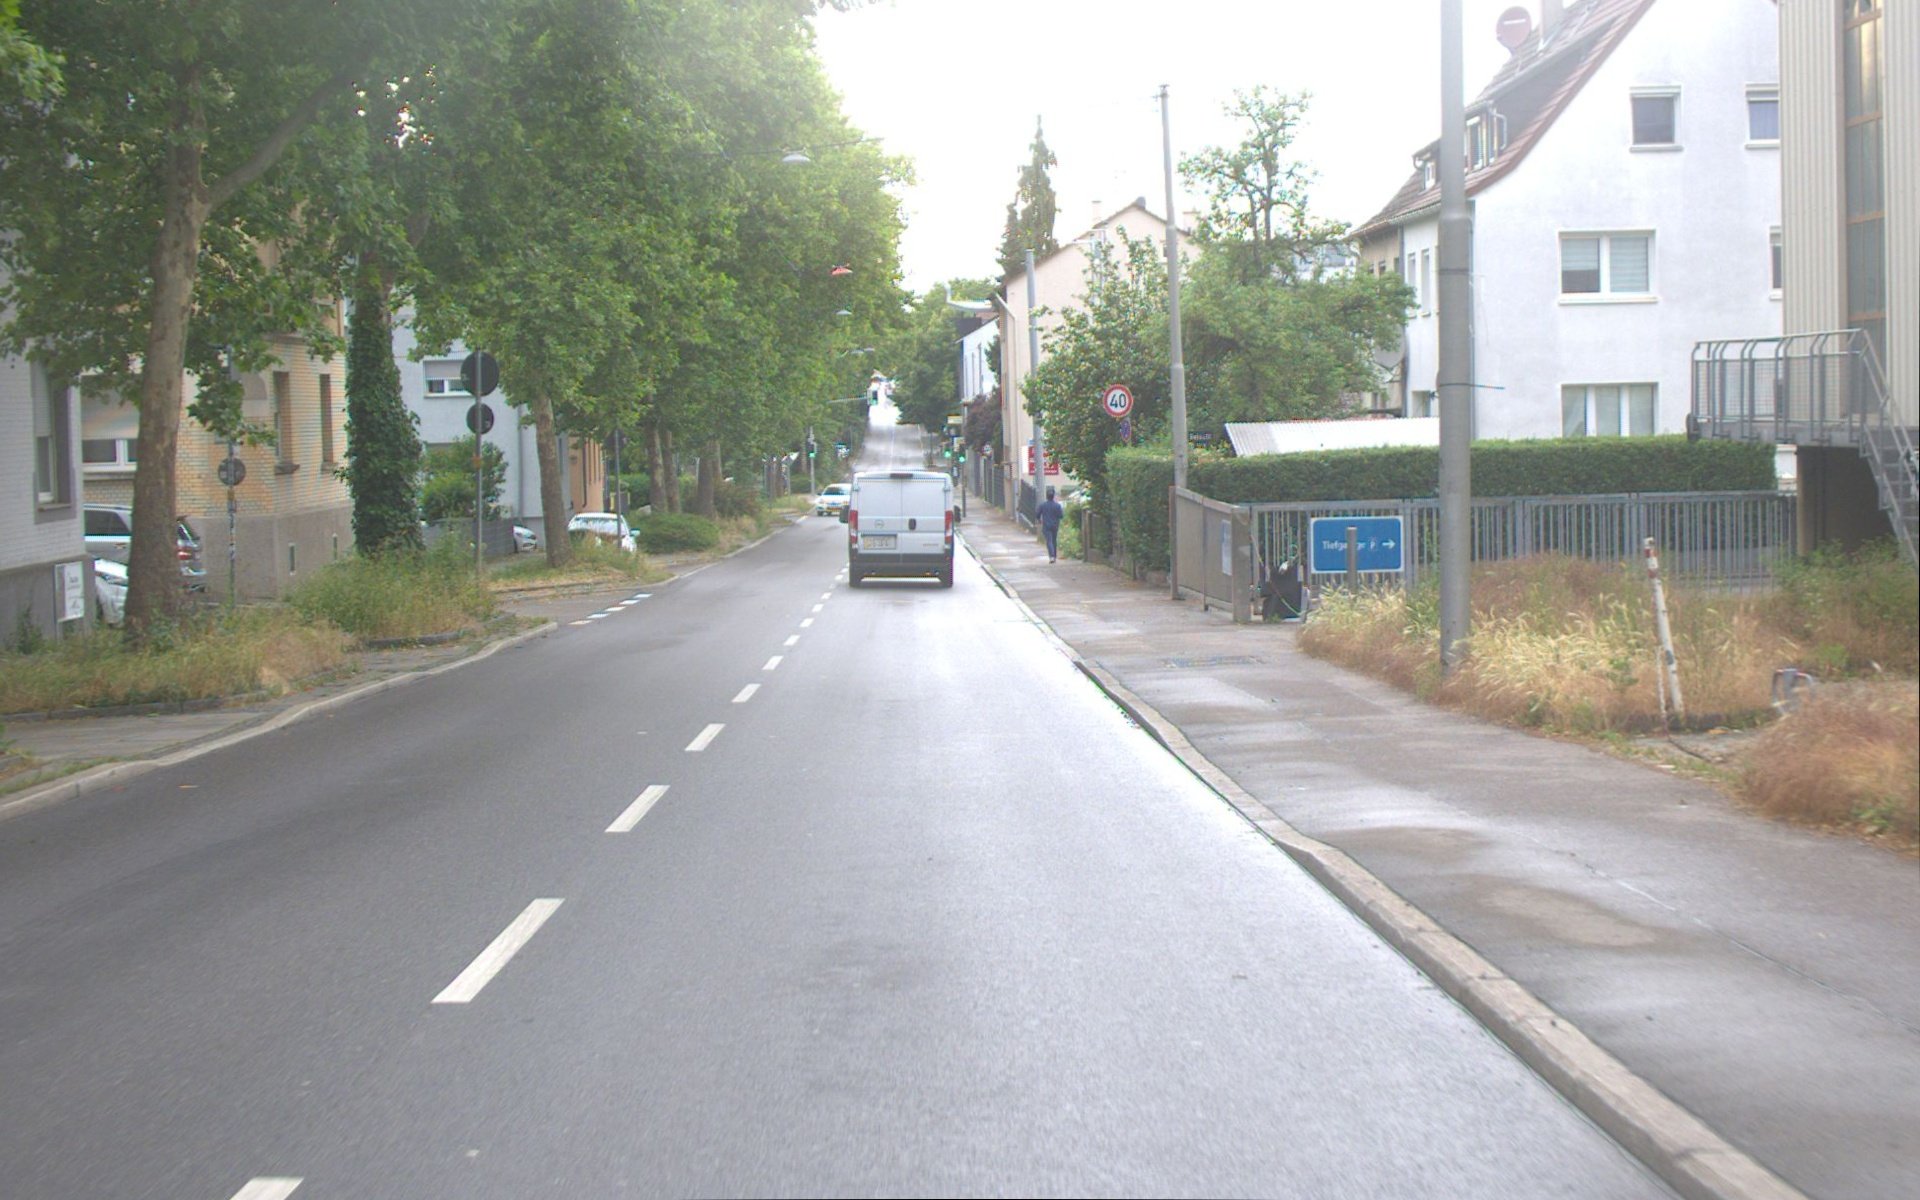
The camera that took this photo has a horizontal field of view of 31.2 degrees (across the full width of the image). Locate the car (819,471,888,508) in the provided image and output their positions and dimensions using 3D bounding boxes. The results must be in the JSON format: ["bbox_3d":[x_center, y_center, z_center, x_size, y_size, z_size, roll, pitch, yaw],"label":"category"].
[{"bbox_3d":[-5.053,-5.269,164.116,1.995,1.703,4.256,0,1,17],"label":"car"}]

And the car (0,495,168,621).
[{"bbox_3d":[-14.661,-0.649,53.475,4.196,1.885,2.000,-1,2,-1],"label":"car"}]

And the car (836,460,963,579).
[{"bbox_3d":[-1.240,-1.632,67.908,2.346,2.152,4.778,-2,3,-2],"label":"car"}]

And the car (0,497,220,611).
[{"bbox_3d":[-15.080,-0.801,59.265,4.196,1.885,2.000,-1,2,-1],"label":"car"}]

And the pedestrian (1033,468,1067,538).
[{"bbox_3d":[2.196,-2.369,83.989,0.816,1.692,0.729,0,1,3],"label":"pedestrian"}]
